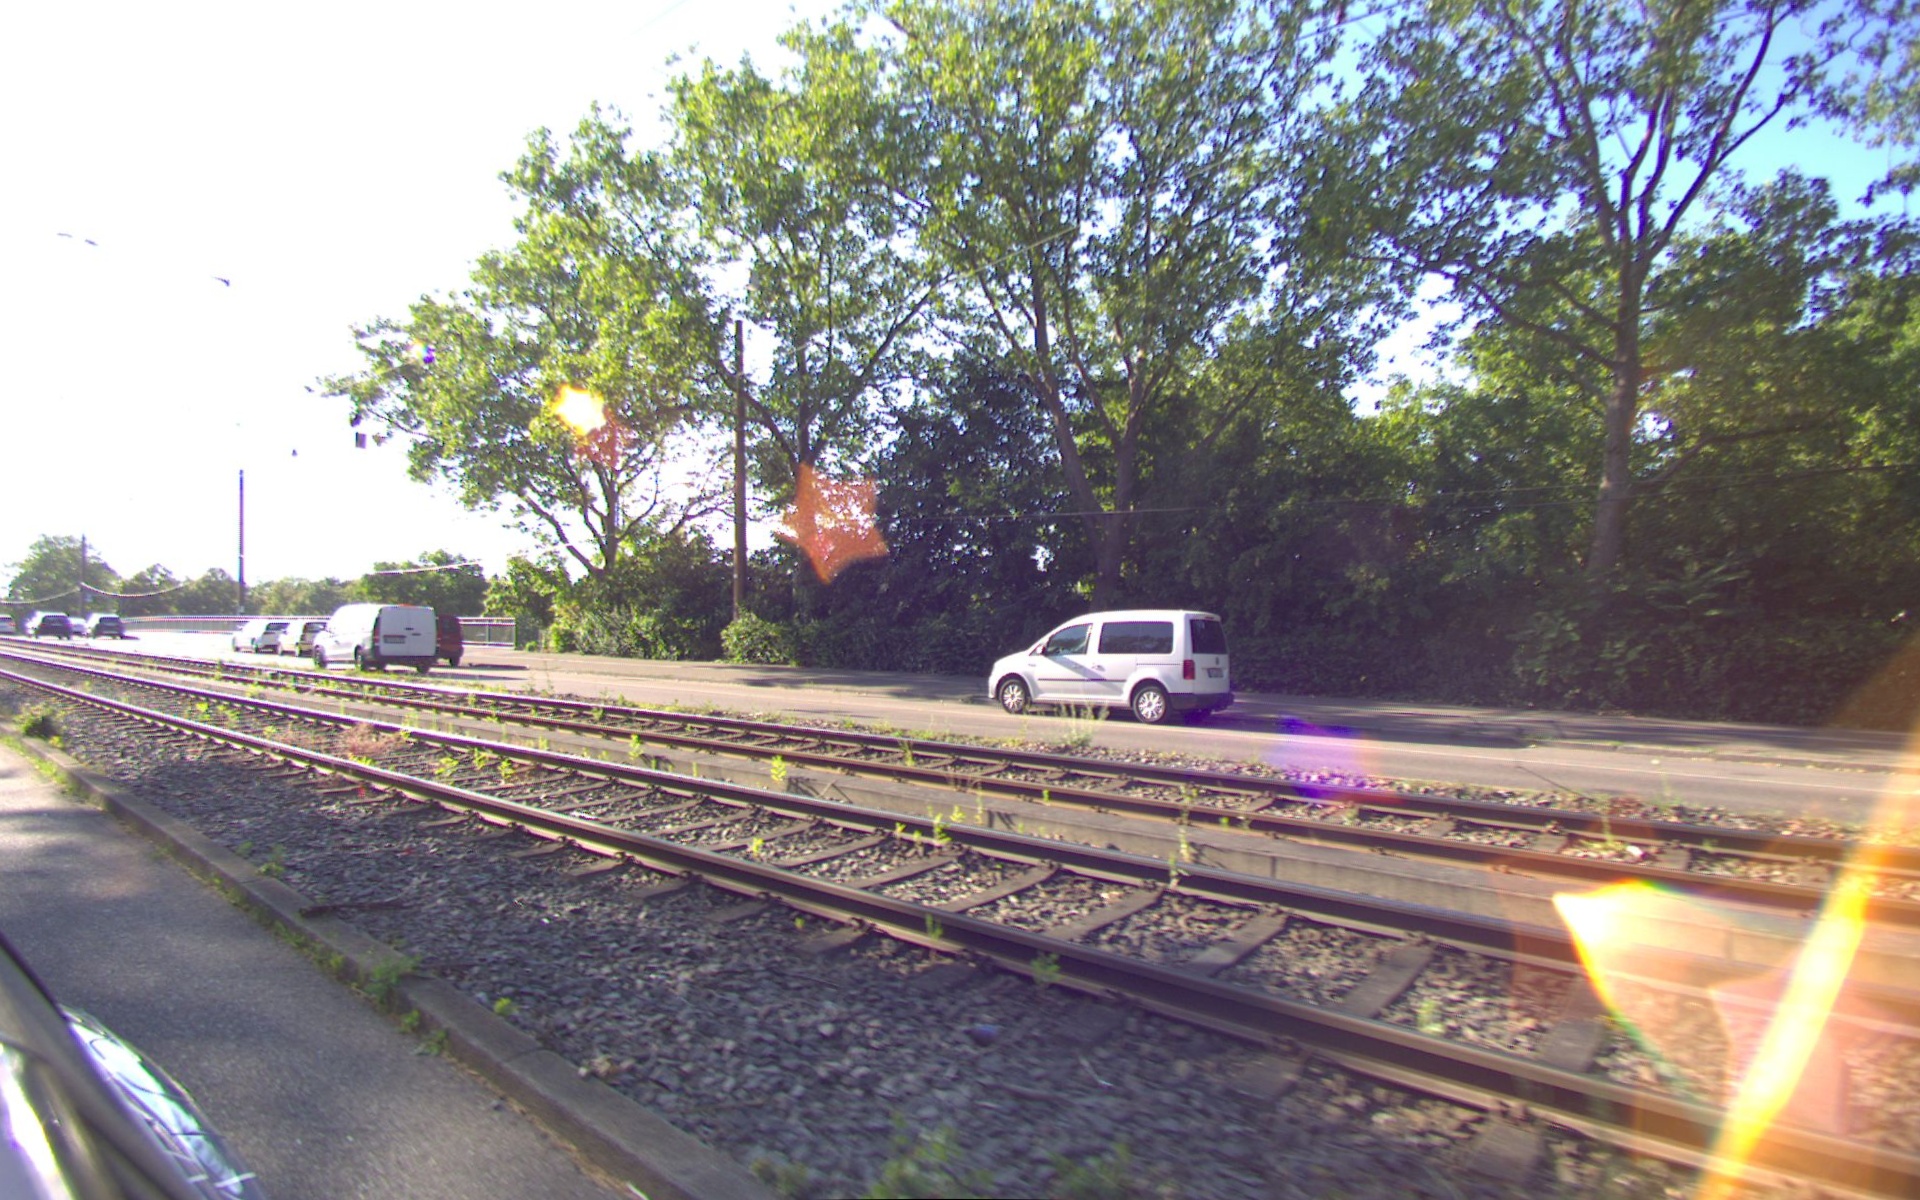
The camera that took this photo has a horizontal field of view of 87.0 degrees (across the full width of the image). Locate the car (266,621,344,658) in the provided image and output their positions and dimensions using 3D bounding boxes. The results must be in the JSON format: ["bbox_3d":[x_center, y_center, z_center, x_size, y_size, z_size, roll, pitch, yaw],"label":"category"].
[{"bbox_3d":[-27.448,1.650,42.363,3.781,1.453,1.637,-1,-3,39],"label":"car"}]

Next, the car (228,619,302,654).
[{"bbox_3d":[-31.541,1.653,45.883,3.920,1.511,1.638,-1,-3,38],"label":"car"}]

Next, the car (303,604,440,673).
[{"bbox_3d":[-17.247,1.104,29.565,5.032,1.866,1.808,-1,-3,40],"label":"car"}]

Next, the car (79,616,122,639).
[{"bbox_3d":[-59.214,1.913,69.711,3.923,1.511,1.637,-1,-3,41],"label":"car"}]

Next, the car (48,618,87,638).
[{"bbox_3d":[-67.840,2.126,76.929,3.922,1.511,1.637,-1,-3,41],"label":"car"}]

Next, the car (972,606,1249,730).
[{"bbox_3d":[2.494,1.082,17.338,4.389,1.854,1.809,-1,-3,38],"label":"car"}]

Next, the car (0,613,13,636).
[{"bbox_3d":[-78.936,1.954,82.472,4.958,1.866,1.963,-1,-3,40],"label":"car"}]

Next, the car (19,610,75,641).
[{"bbox_3d":[-58.394,1.629,64.692,4.958,1.866,1.963,-1,-3,40],"label":"car"}]

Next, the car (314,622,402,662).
[{"bbox_3d":[-23.172,1.615,38.929,3.780,1.453,1.638,-1,-3,38],"label":"car"}]
